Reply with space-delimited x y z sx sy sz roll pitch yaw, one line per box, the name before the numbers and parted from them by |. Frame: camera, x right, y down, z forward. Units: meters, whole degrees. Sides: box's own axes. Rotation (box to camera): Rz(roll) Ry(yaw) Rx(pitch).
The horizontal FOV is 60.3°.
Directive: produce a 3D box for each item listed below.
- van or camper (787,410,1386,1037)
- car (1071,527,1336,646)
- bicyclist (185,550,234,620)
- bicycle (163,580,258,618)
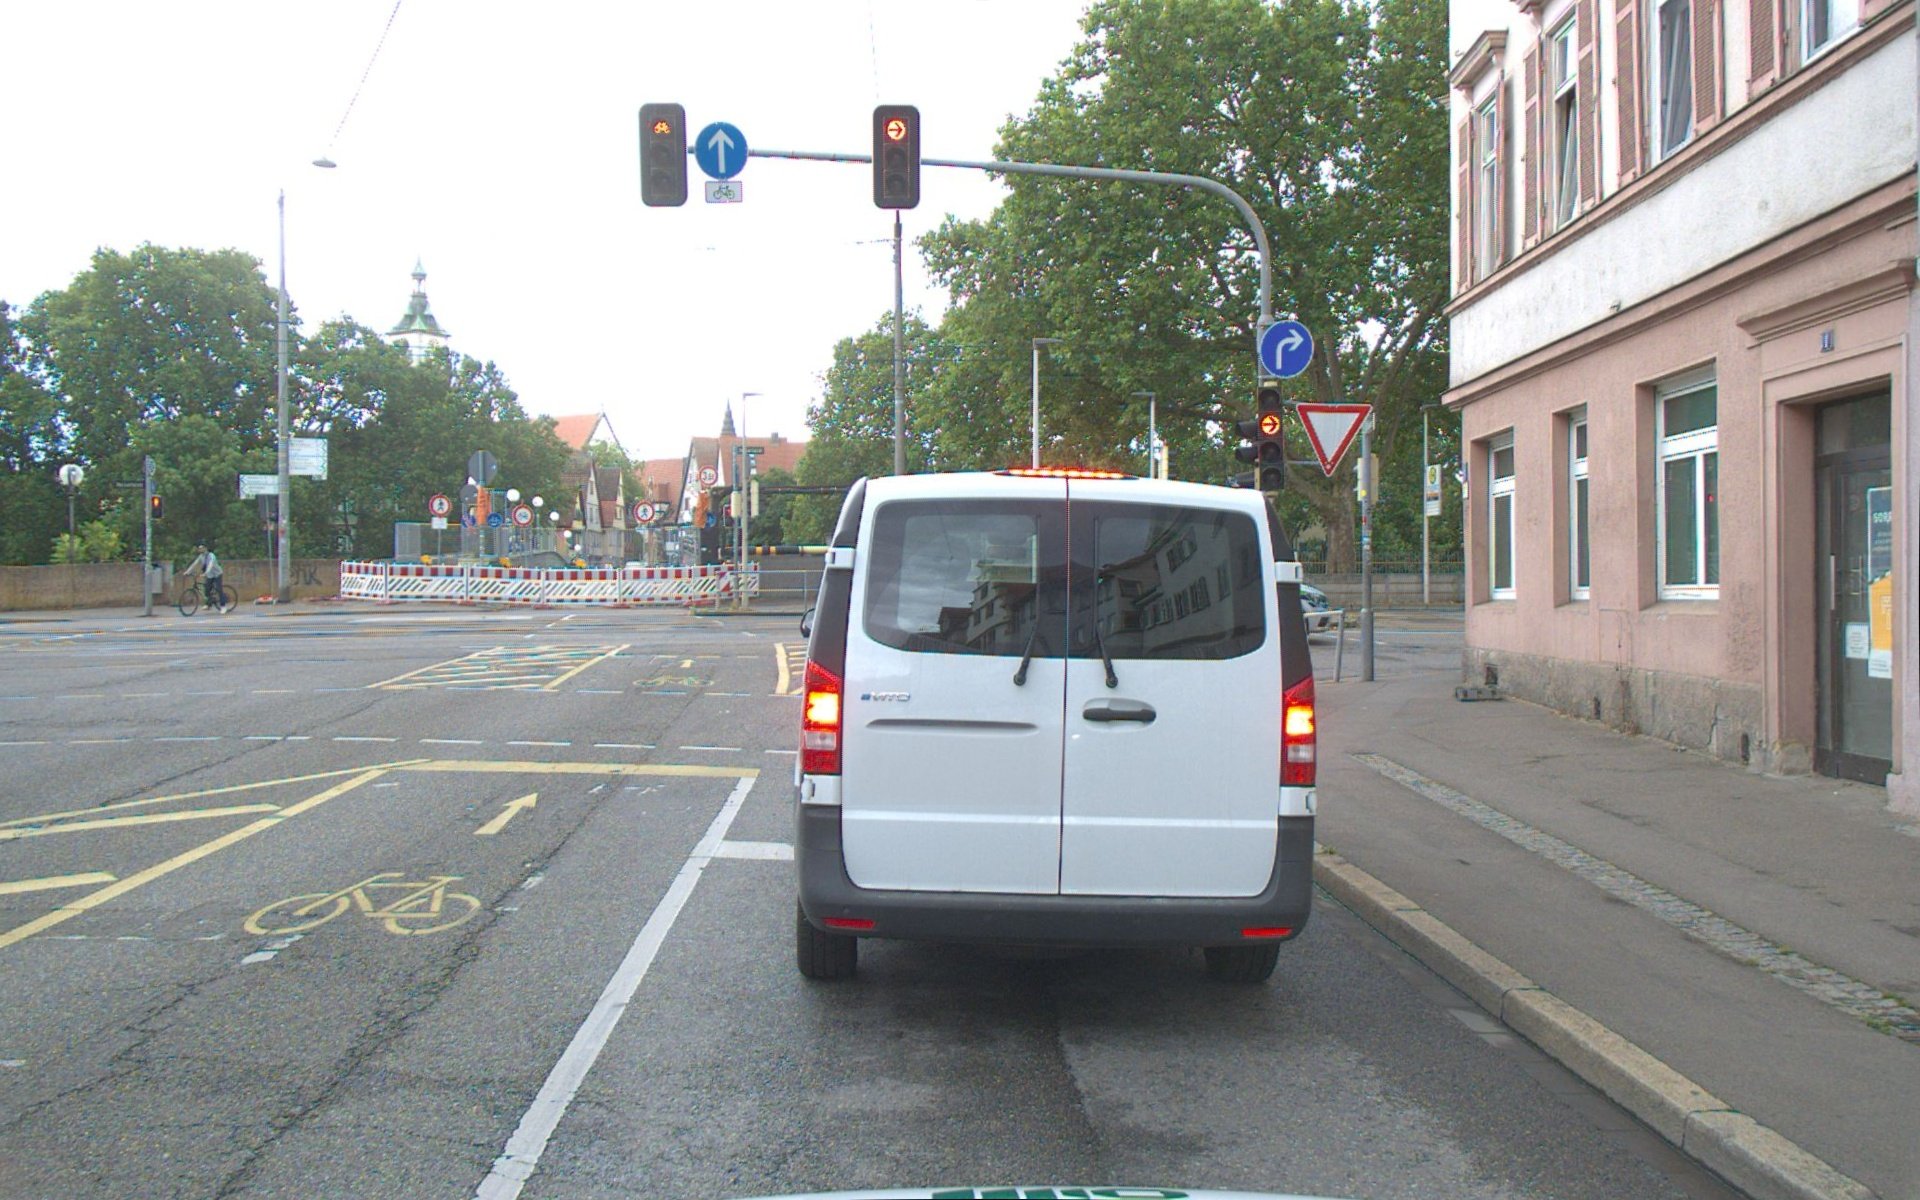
van or camper | 0.237 0.412 7.474 1.900 1.958 4.436 1 0 -5
car | 4.020 -0.273 27.963 4.255 1.833 2.002 1 3 4
bicyclist | -19.386 -0.404 42.723 0.996 1.774 0.743 -1 2 -43
bicycle | -19.360 -0.034 42.769 2.122 0.907 0.748 -2 2 -44
